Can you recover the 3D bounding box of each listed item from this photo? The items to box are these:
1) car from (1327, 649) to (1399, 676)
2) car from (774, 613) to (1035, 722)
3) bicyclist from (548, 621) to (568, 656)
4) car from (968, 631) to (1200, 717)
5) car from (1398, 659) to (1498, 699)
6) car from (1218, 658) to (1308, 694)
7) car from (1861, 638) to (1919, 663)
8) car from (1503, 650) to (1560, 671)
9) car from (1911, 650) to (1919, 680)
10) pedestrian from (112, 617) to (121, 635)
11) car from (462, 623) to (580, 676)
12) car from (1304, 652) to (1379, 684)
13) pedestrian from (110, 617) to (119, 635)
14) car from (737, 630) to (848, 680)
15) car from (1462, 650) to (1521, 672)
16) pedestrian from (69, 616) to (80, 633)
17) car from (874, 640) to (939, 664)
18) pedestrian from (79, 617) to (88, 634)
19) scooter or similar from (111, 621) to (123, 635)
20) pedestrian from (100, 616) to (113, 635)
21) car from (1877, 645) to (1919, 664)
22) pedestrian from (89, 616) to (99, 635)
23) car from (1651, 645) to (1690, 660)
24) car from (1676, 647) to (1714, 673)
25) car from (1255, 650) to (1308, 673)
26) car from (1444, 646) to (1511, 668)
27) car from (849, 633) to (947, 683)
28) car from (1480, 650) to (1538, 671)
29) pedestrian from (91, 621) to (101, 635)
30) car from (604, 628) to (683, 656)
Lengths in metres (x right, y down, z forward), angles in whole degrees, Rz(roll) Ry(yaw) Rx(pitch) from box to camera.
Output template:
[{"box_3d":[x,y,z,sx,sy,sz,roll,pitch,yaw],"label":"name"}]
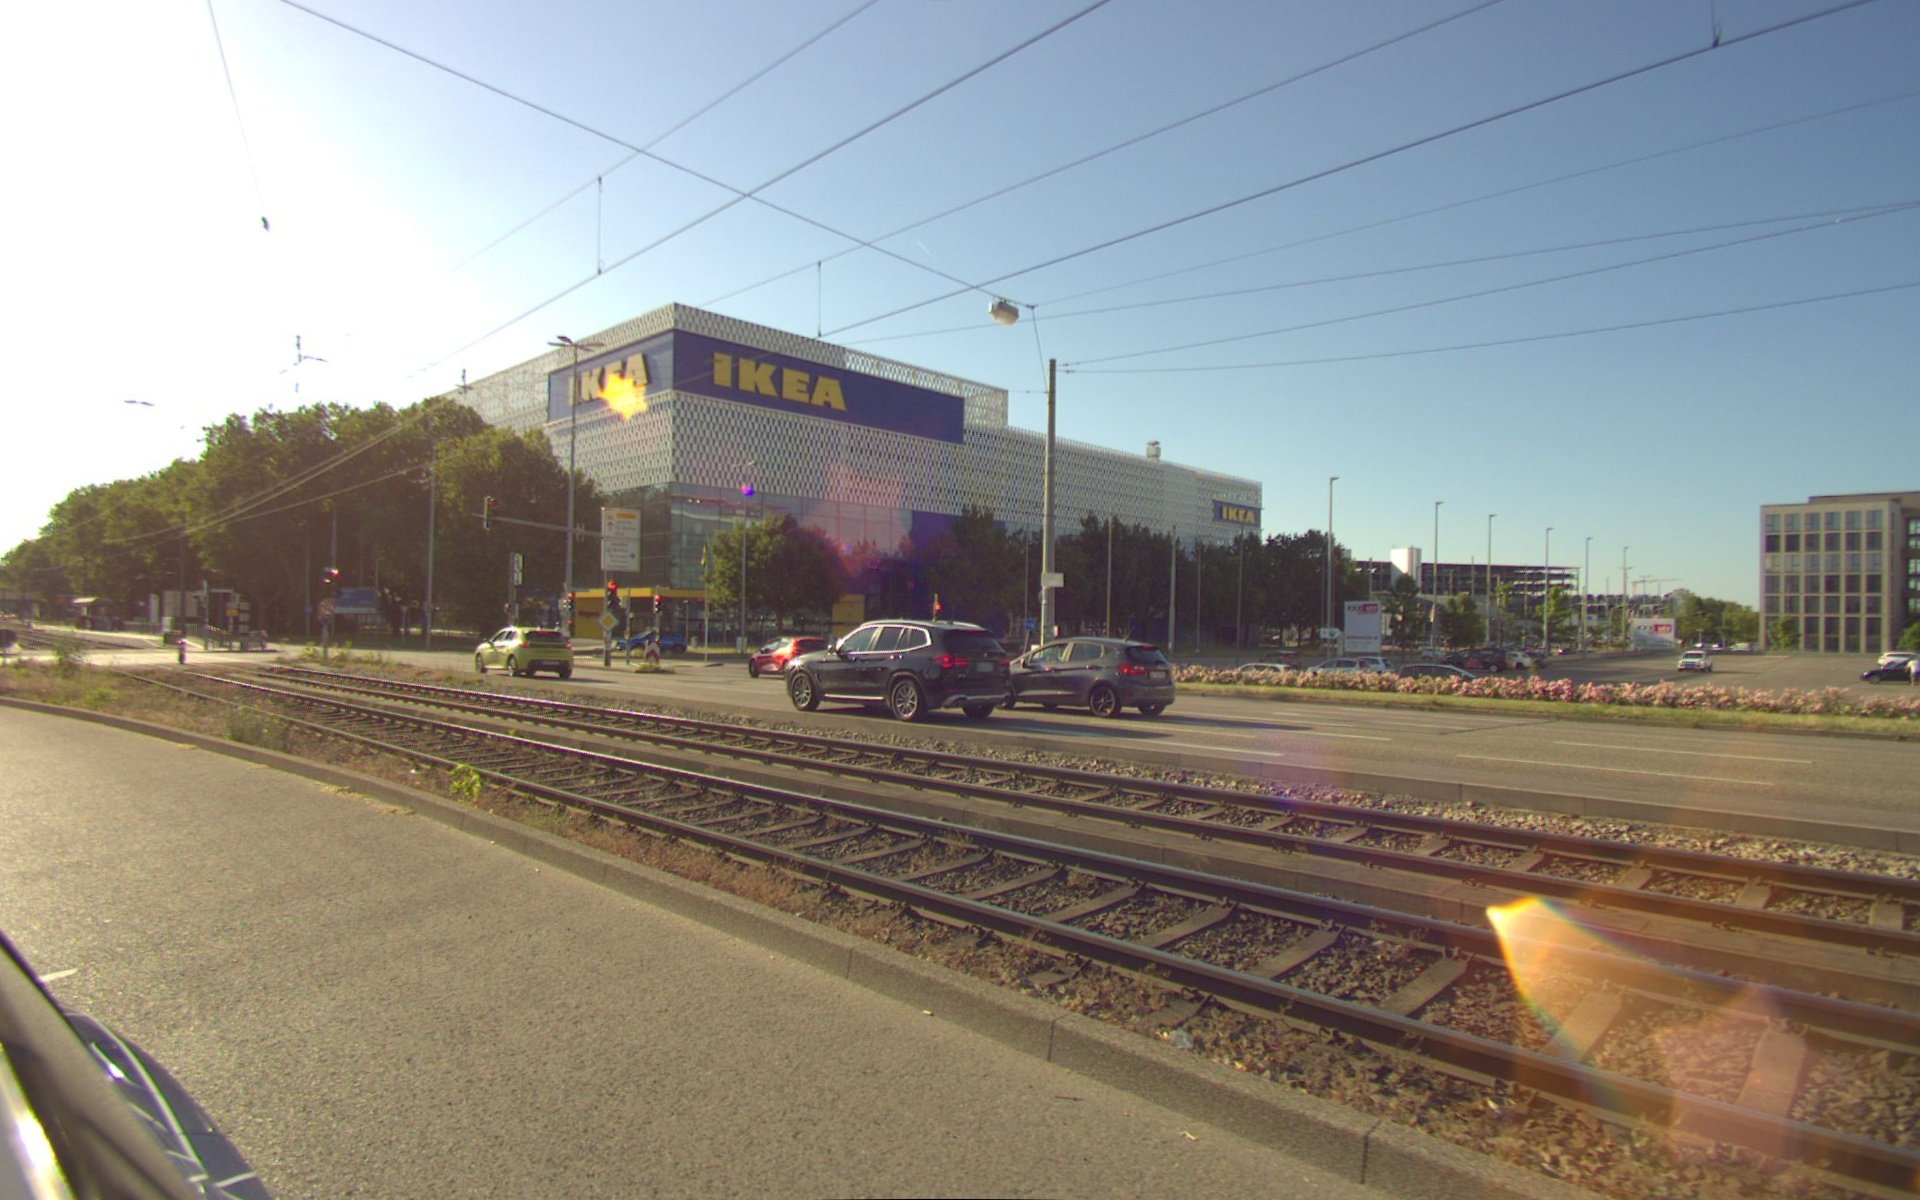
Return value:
[{"box_3d":[26.893,4.155,67.582,3.997,1.605,1.910,-2,0,40],"label":"car"},{"box_3d":[-1.100,1.117,17.893,4.660,1.668,1.971,-1,-3,45],"label":"car"},{"box_3d":[-17.643,1.681,44.444,0.751,1.534,0.581,-2,-2,44],"label":"bicyclist"},{"box_3d":[2.298,1.330,19.407,4.136,1.472,1.837,-2,-2,42],"label":"car"},{"box_3d":[23.745,3.805,49.321,1.840,1.736,4.007,2,-3,-39],"label":"car"},{"box_3d":[17.089,4.262,57.163,4.412,1.723,1.974,-2,0,39],"label":"car"},{"box_3d":[70.525,3.787,75.980,1.967,1.728,4.008,3,-3,-37],"label":"car"},{"box_3d":[50.179,5.274,88.836,4.001,1.668,1.971,-1,-2,44],"label":"car"},{"box_3d":[61.255,4.039,62.201,4.000,1.715,1.953,-2,0,43],"label":"car"},{"box_3d":[-77.355,2.414,92.805,0.594,1.632,0.691,-1,0,-42],"label":"pedestrian"},{"box_3d":[-13.102,1.445,30.115,4.109,1.459,1.763,-1,-3,44],"label":"car"},{"box_3d":[23.947,4.258,63.553,3.997,1.758,1.910,-2,0,40],"label":"car"},{"box_3d":[-78.404,2.374,93.824,0.643,1.632,0.636,-1,0,-42],"label":"pedestrian"},{"box_3d":[-5.661,1.814,33.913,1.910,1.488,4.141,4,-3,-37],"label":"car"},{"box_3d":[44.127,5.028,84.019,4.001,1.668,1.703,-1,-2,44],"label":"car"},{"box_3d":[-90.968,2.539,103.918,0.752,1.723,0.678,2,-3,-45],"label":"pedestrian"},{"box_3d":[-3.483,3.415,66.746,1.922,1.469,4.031,-1,-3,44],"label":"car"},{"box_3d":[-86.325,2.488,99.667,0.652,1.645,0.777,-1,0,-45],"label":"pedestrian"},{"box_3d":[-75.456,2.504,90.592,1.372,1.244,0.656,-1,-2,44],"label":"scooter or similar"},{"box_3d":[-80.779,2.423,95.746,0.685,1.704,0.725,-2,0,34],"label":"pedestrian"},{"box_3d":[83.531,4.796,89.088,1.852,1.459,4.003,-2,0,-44],"label":"car"},{"box_3d":[-82.778,2.448,96.726,0.645,1.755,0.686,-2,0,-43],"label":"pedestrian"},{"box_3d":[95.091,7.067,135.472,4.002,1.794,1.971,-1,0,45],"label":"car"},{"box_3d":[60.401,4.928,83.112,4.167,1.813,1.828,-2,0,-44],"label":"car"},{"box_3d":[26.364,5.045,83.123,1.876,1.580,4.262,-2,0,-22],"label":"car"},{"box_3d":[41.040,4.508,80.338,4.435,1.563,1.651,-2,0,39],"label":"car"},{"box_3d":[-2.275,2.029,36.092,1.795,1.655,4.011,3,-3,-32],"label":"car"},{"box_3d":[46.492,5.117,85.767,4.001,1.668,1.776,-1,-2,44],"label":"car"},{"box_3d":[-83.743,2.703,98.055,0.685,1.262,0.646,-2,0,41],"label":"pedestrian"},{"box_3d":[-19.569,2.625,62.662,4.192,1.509,2.019,5,-4,-41],"label":"car"}]
